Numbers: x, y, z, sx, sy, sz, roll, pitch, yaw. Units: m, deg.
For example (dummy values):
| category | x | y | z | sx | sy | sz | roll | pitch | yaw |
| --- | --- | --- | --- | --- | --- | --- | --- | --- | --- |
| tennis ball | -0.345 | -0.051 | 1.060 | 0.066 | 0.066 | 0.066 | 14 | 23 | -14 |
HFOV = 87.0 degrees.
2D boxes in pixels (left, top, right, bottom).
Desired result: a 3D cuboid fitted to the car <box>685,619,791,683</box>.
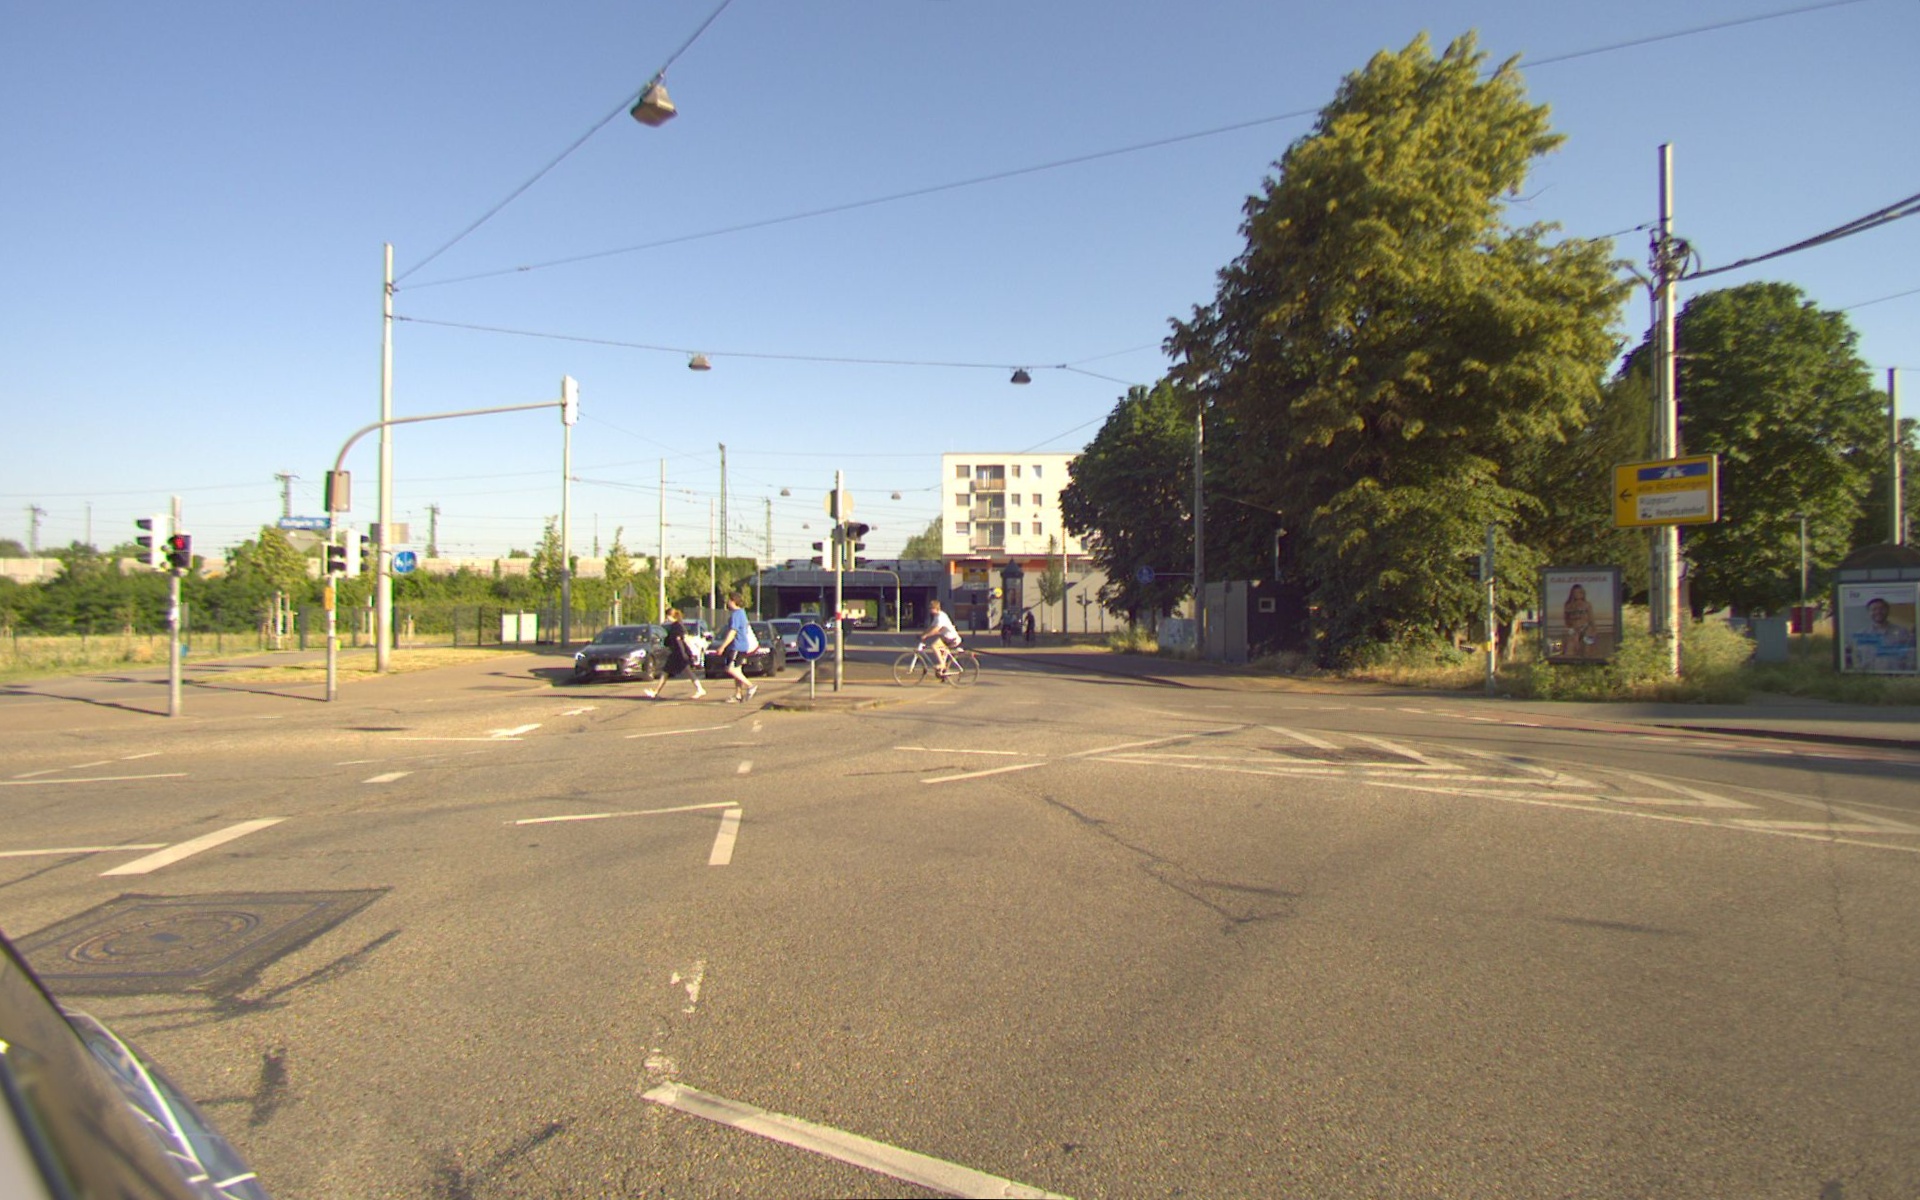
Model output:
| category | x | y | z | sx | sy | sz | roll | pitch | yaw |
| --- | --- | --- | --- | --- | --- | --- | --- | --- | --- |
| car | -5.799 | 1.288 | 26.962 | 2.024 | 1.579 | 4.453 | 0 | -1 | -2 |

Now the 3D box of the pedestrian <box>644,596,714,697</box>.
| category | x | y | z | sx | sy | sz | roll | pitch | yaw |
| --- | --- | --- | --- | --- | --- | --- | --- | --- | --- |
| pedestrian | -4.995 | 0.817 | 18.035 | 1.051 | 1.760 | 0.916 | 0 | -1 | -5 |

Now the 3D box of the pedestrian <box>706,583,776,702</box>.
| category | x | y | z | sx | sy | sz | roll | pitch | yaw |
| --- | --- | --- | --- | --- | --- | --- | --- | --- | --- |
| pedestrian | -3.694 | 0.709 | 17.134 | 1.051 | 1.939 | 0.916 | 0 | -1 | -5 |

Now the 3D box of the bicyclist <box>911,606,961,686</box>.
| category | x | y | z | sx | sy | sz | roll | pitch | yaw |
| --- | --- | --- | --- | --- | --- | --- | --- | --- | --- |
| bicyclist | -0.488 | 0.950 | 21.166 | 1.027 | 1.641 | 0.713 | 0 | -1 | 0 |

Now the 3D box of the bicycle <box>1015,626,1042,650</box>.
| category | x | y | z | sx | sy | sz | roll | pitch | yaw |
| --- | --- | --- | --- | --- | --- | --- | --- | --- | --- |
| bicycle | 3.167 | 1.779 | 47.119 | 0.652 | 1.077 | 2.025 | 0 | -1 | -15 |

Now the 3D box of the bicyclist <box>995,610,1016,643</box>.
| category | x | y | z | sx | sy | sz | roll | pitch | yaw |
| --- | --- | --- | --- | --- | --- | --- | --- | --- | --- |
| bicyclist | 2.099 | 1.223 | 46.770 | 0.686 | 1.543 | 1.040 | 0 | -1 | -14 |

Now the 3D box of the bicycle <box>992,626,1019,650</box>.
| category | x | y | z | sx | sy | sz | roll | pitch | yaw |
| --- | --- | --- | --- | --- | --- | --- | --- | --- | --- |
| bicycle | 2.092 | 1.727 | 46.696 | 0.652 | 1.077 | 2.024 | 0 | -1 | -14 |

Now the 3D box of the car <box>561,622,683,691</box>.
| category | x | y | z | sx | sy | sz | roll | pitch | yaw |
| --- | --- | --- | --- | --- | --- | --- | --- | --- | --- |
| car | -8.559 | 1.372 | 26.019 | 1.970 | 1.579 | 4.278 | -1 | -1 | -4 |

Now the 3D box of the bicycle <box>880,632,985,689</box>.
| category | x | y | z | sx | sy | sz | roll | pitch | yaw |
| --- | --- | --- | --- | --- | --- | --- | --- | --- | --- |
| bicycle | -0.571 | 1.256 | 21.168 | 2.170 | 1.151 | 0.700 | 0 | -1 | 0 |

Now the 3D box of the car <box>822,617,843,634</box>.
| category | x | y | z | sx | sy | sz | roll | pitch | yaw |
| --- | --- | --- | --- | --- | --- | --- | --- | --- | --- |
| car | -13.322 | 2.660 | 105.825 | 1.970 | 1.716 | 4.004 | 0 | -1 | -4 |

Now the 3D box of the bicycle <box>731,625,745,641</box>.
| category | x | y | z | sx | sy | sz | roll | pitch | yaw |
| --- | --- | --- | --- | --- | --- | --- | --- | --- | --- |
| bicycle | -15.218 | 2.246 | 69.399 | 0.653 | 1.077 | 2.021 | 0 | -1 | -5 |

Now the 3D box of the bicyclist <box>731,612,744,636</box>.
| category | x | y | z | sx | sy | sz | roll | pitch | yaw |
| --- | --- | --- | --- | --- | --- | --- | --- | --- | --- |
| bicyclist | -15.247 | 1.648 | 69.428 | 0.765 | 1.618 | 0.858 | 1 | -2 | -6 |

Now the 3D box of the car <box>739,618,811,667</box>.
| category | x | y | z | sx | sy | sz | roll | pitch | yaw |
| --- | --- | --- | --- | --- | --- | --- | --- | --- | --- |
| car | -6.336 | 1.417 | 35.158 | 1.970 | 1.579 | 4.460 | 0 | -1 | -4 |

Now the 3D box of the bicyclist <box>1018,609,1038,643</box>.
| category | x | y | z | sx | sy | sz | roll | pitch | yaw |
| --- | --- | --- | --- | --- | --- | --- | --- | --- | --- |
| bicyclist | 3.166 | 1.211 | 47.085 | 0.649 | 1.543 | 1.040 | 0 | -1 | -14 |

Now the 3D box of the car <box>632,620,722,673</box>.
| category | x | y | z | sx | sy | sz | roll | pitch | yaw |
| --- | --- | --- | --- | --- | --- | --- | --- | --- | --- |
| car | -9.003 | 1.447 | 32.549 | 1.970 | 1.579 | 4.278 | 0 | -1 | -4 |
